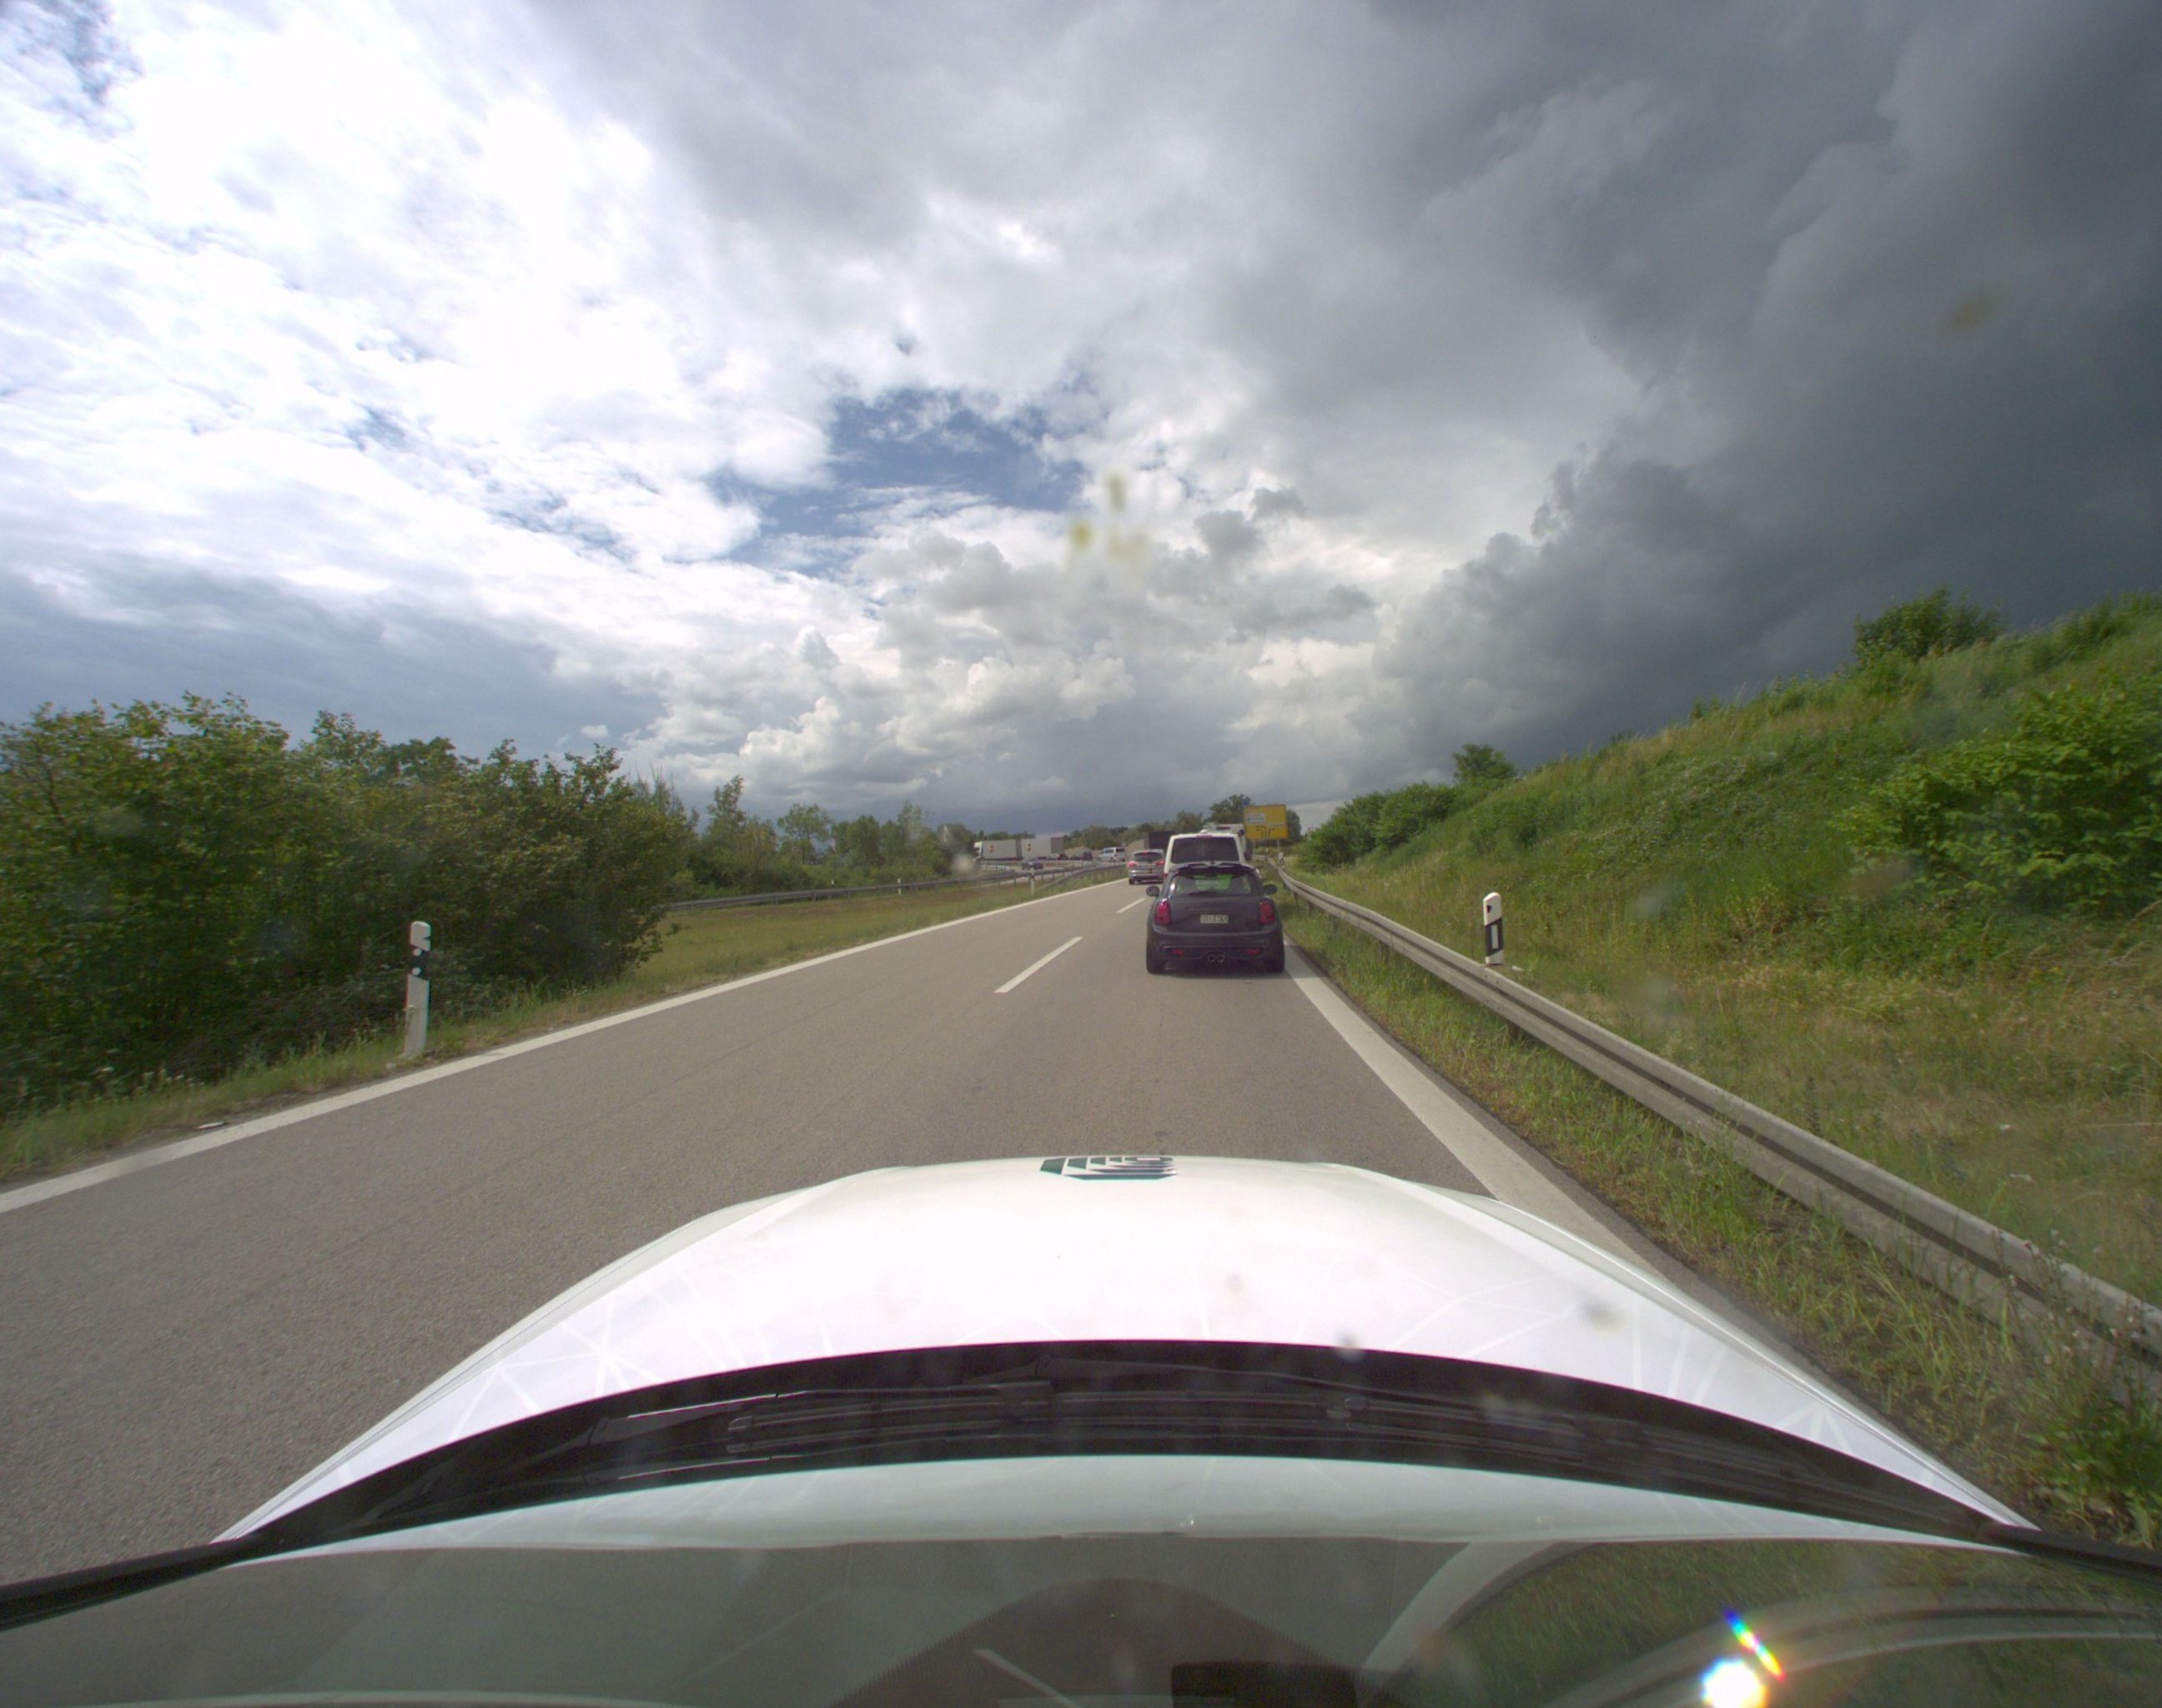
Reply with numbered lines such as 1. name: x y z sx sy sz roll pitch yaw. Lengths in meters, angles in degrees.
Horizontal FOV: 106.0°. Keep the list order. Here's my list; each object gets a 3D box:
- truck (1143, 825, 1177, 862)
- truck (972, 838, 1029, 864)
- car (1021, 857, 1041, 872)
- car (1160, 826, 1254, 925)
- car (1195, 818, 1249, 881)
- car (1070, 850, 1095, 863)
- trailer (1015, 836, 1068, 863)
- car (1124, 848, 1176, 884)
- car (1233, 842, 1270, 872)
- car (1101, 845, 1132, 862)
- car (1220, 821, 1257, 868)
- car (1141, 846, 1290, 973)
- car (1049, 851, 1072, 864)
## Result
1. truck: 7.138 -0.857 74.062 2.551 3.168 7.470 0 -1 1
2. truck: -12.956 -0.434 130.701 9.900 3.976 2.863 -1 -1 37
3. car: -6.024 1.269 98.039 1.761 1.593 3.983 -4 -1 -12
4. car: 2.990 0.471 19.105 1.899 2.045 4.192 -1 -1 10
5. car: 6.382 -0.124 36.741 2.198 2.623 5.549 0 -1 10
6. car: 0.241 0.396 118.652 1.931 1.838 4.280 0 -1 -26
7. trailer: -6.069 -0.571 124.586 3.063 3.898 8.664 1 -2 -44
8. car: 3.402 0.568 39.567 2.008 1.577 4.600 -2 -1 10
9. car: 9.980 0.212 47.866 1.981 1.642 3.939 0 -1 10
10. car: 4.806 -0.032 111.054 2.300 2.260 5.067 0 -1 -23
11. car: 11.076 -0.561 56.984 2.295 3.069 6.685 -1 -1 13
12. car: 1.854 0.693 11.844 1.790 1.546 3.745 -1 0 6
13. car: -3.011 0.474 116.674 1.822 1.756 3.966 0 -1 -26
